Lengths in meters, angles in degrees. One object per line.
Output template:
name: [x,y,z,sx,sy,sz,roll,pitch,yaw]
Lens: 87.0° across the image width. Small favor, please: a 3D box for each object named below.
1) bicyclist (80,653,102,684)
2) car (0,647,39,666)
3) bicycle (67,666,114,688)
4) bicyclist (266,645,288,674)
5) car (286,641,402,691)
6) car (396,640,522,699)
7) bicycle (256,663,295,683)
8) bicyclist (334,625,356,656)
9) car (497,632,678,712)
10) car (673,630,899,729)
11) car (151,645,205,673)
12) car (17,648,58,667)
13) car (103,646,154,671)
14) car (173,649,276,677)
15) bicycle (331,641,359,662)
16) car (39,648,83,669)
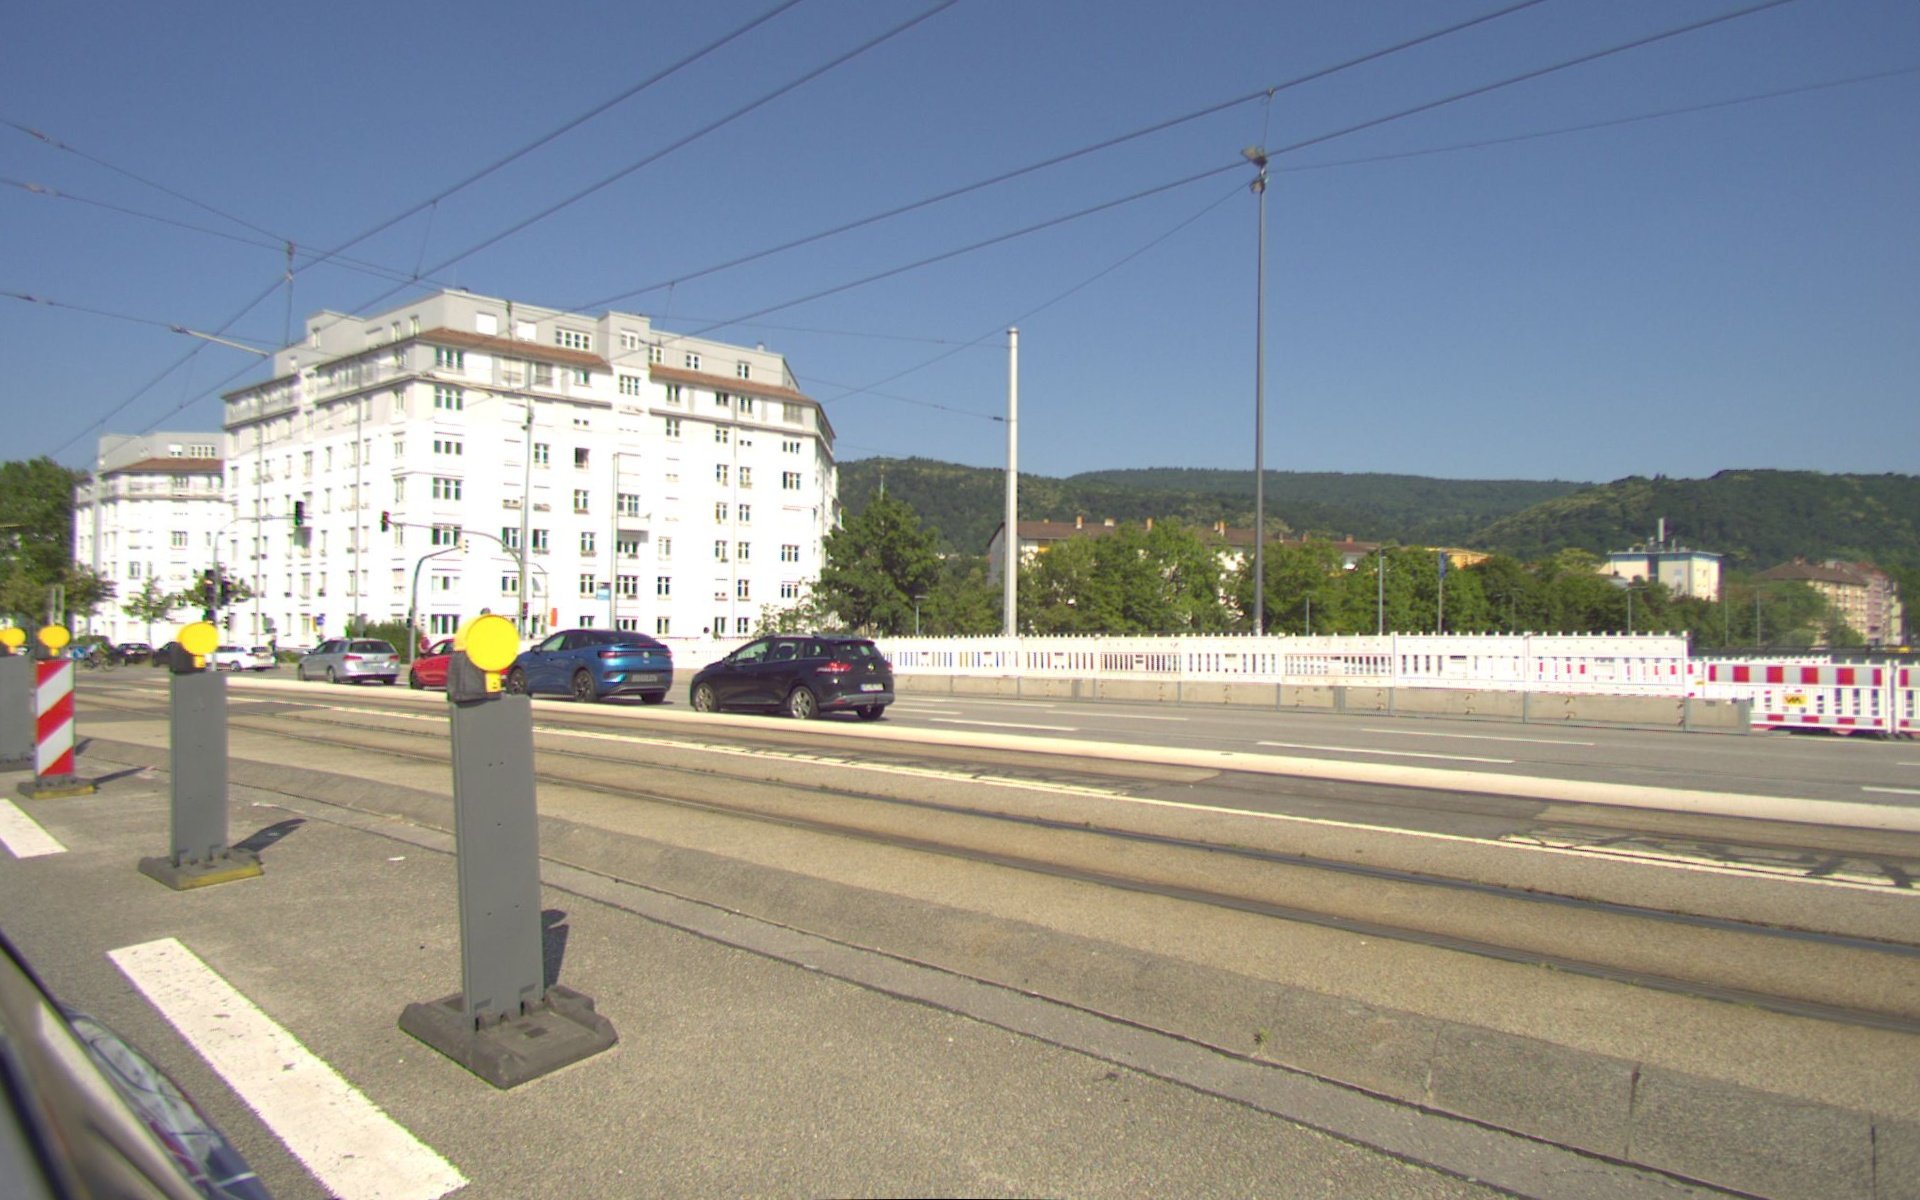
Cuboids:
bicyclist: [-46.172,3.626,53.779,0.709,1.561,0.774,-3,-2,38]
car: [-79.502,4.749,85.485,3.732,1.496,1.719,-2,-2,36]
bicycle: [-46.170,4.079,53.752,0.709,0.998,1.796,-2,0,37]
bicyclist: [-39.900,3.478,59.131,0.993,1.666,0.811,-2,-2,-34]
car: [-19.206,2.037,31.488,4.639,1.448,1.621,-2,-4,40]
car: [-13.332,1.795,26.844,3.977,1.448,1.518,-2,-4,40]
bicycle: [-39.919,4.252,59.040,1.880,1.028,0.824,-2,-2,-34]
bicyclist: [-33.820,2.222,55.629,0.915,1.601,0.617,-1,2,34]
car: [-8.142,1.499,21.927,4.552,1.562,1.652,-2,-4,41]
car: [-3.073,1.312,17.403,4.174,1.512,1.490,-2,-4,40]
car: [-49.640,3.736,64.228,3.732,1.650,1.719,-2,-2,36]
car: [-73.814,4.597,80.957,3.732,1.496,1.719,-2,-2,36]
car: [-56.840,3.986,69.169,3.730,1.650,1.720,-2,-2,34]
car: [-38.728,3.306,53.316,4.434,1.423,1.698,-1,-3,8]
bicycle: [-33.887,2.824,55.729,1.782,1.107,0.611,-1,2,35]
car: [-67.502,4.350,75.991,3.732,1.496,1.719,-2,-2,36]
